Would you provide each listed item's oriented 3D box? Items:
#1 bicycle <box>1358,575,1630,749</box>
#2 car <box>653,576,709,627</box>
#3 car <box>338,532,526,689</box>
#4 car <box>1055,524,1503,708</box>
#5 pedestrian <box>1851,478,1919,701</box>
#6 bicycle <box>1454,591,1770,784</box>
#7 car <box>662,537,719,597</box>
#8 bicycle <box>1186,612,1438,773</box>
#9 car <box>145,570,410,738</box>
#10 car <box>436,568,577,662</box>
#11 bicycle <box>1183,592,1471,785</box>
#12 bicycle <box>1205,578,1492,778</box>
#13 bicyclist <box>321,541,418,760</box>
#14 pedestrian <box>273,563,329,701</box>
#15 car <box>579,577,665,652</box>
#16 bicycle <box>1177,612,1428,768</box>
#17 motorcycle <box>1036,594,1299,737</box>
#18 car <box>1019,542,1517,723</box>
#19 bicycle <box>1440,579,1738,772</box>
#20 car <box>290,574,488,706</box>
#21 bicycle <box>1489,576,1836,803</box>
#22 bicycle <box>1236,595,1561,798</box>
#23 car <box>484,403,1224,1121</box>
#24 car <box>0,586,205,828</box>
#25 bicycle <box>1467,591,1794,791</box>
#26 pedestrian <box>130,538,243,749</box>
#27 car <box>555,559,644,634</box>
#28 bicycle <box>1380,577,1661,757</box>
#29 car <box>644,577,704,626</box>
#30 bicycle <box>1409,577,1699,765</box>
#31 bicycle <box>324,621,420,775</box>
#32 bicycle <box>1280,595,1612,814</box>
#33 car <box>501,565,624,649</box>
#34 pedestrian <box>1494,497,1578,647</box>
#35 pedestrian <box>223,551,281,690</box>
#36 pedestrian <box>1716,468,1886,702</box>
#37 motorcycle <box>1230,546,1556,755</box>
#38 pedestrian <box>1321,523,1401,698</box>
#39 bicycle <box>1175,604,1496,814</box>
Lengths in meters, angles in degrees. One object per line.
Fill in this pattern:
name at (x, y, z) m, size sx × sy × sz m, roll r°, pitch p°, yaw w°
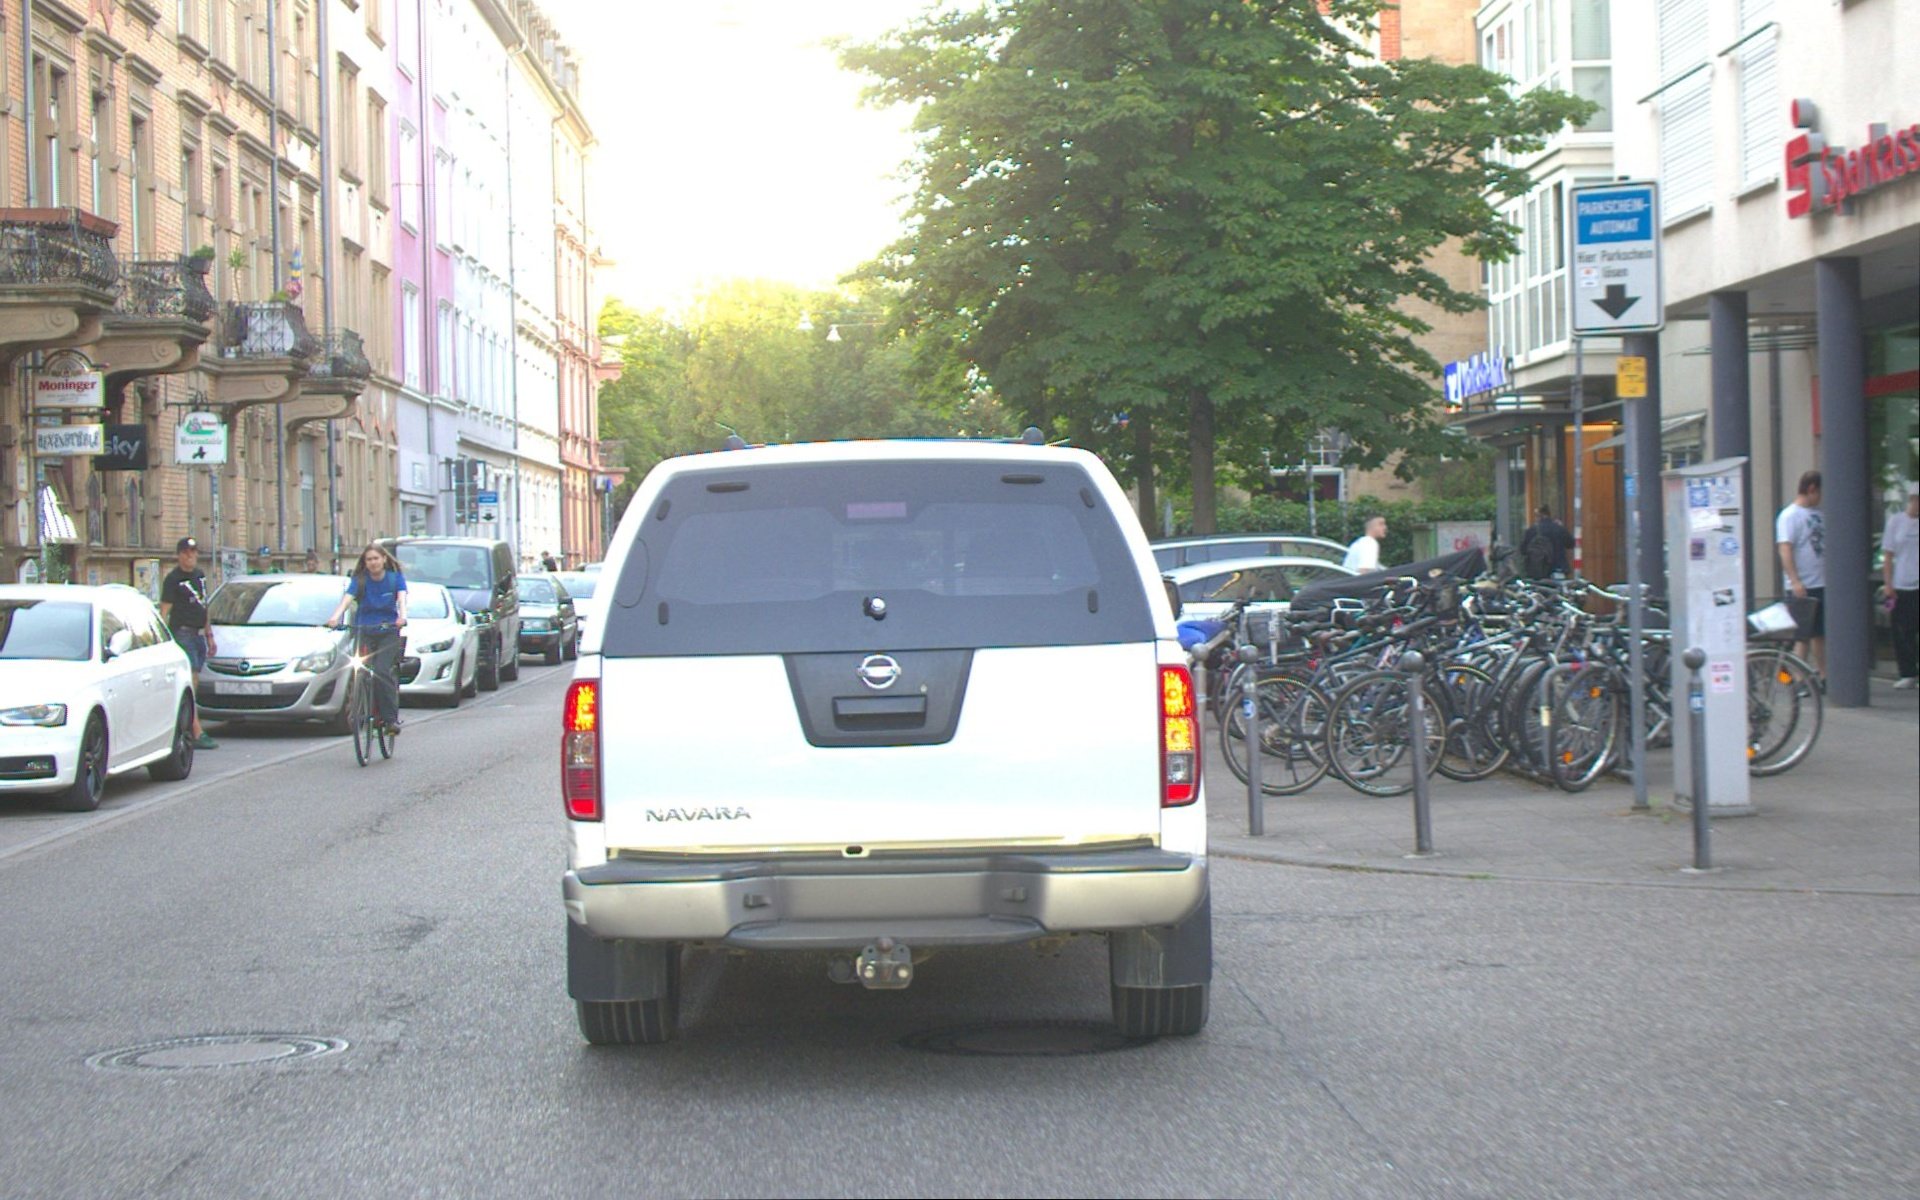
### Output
bicycle at (3.728, 0.427, 24.080) m, size 1.722 × 1.114 × 0.654 m, roll -3°, pitch 0°, yaw -4°
car at (-8.727, 0.040, 107.701) m, size 1.698 × 1.547 × 4.022 m, roll 1°, pitch 0°, yaw -4°
car at (-6.883, 0.107, 45.265) m, size 1.993 × 1.917 × 4.952 m, roll 1°, pitch 0°, yaw -4°
car at (3.272, 0.151, 35.845) m, size 4.398 × 1.642 × 1.746 m, roll -3°, pitch 1°, yaw -1°
pedestrian at (7.429, -0.092, 27.017) m, size 0.663 × 1.717 × 0.662 m, roll -1°, pitch 2°, yaw 26°
bicycle at (3.881, 0.515, 20.551) m, size 1.722 × 1.050 × 0.653 m, roll -3°, pitch 0°, yaw 2°
car at (-9.082, -1.117, 115.833) m, size 1.810 × 1.970 × 4.187 m, roll 1°, pitch 0°, yaw -6°
bicycle at (2.577, 0.673, 25.288) m, size 1.719 × 1.028 × 0.667 m, roll -5°, pitch 0°, yaw 2°
car at (-6.400, 0.465, 32.629) m, size 1.717 × 1.452 × 4.000 m, roll 1°, pitch 1°, yaw 0°
car at (-7.151, 0.235, 54.562) m, size 1.736 × 1.413 × 4.779 m, roll 1°, pitch 0°, yaw -2°
bicycle at (2.534, 0.607, 23.913) m, size 1.869 × 1.178 × 0.743 m, roll -5°, pitch 0°, yaw 4°
bicycle at (2.615, 0.517, 23.072) m, size 1.789 × 1.178 × 0.733 m, roll -5°, pitch 0°, yaw 10°
bicyclist at (-4.516, 0.374, 26.300) m, size 0.644 × 1.615 × 0.918 m, roll -3°, pitch 1°, yaw -10°
pedestrian at (-8.630, 0.410, 45.039) m, size 0.605 × 1.766 × 0.777 m, roll 2°, pitch 1°, yaw -5°
car at (-7.816, 0.324, 79.725) m, size 1.844 × 1.653 × 4.253 m, roll -1°, pitch 0°, yaw -4°
bicycle at (2.570, 0.670, 25.908) m, size 1.772 × 1.019 × 0.565 m, roll -5°, pitch 0°, yaw 2°
motorcycle at (1.744, 0.543, 28.954) m, size 2.057 × 1.074 × 0.664 m, roll -3°, pitch 0°, yaw -16°
car at (2.920, 0.293, 33.075) m, size 4.422 × 1.450 × 1.780 m, roll -3°, pitch 1°, yaw -7°
bicycle at (3.955, 0.468, 21.710) m, size 1.722 × 1.114 × 0.653 m, roll -3°, pitch 0°, yaw 2°
car at (-6.631, 0.425, 40.305) m, size 1.783 × 1.418 × 4.486 m, roll 1°, pitch 0°, yaw -3°
bicycle at (3.847, 0.482, 18.853) m, size 1.722 × 1.128 × 0.579 m, roll -3°, pitch 0°, yaw -13°
bicycle at (2.652, 0.577, 20.909) m, size 1.809 × 1.114 × 0.707 m, roll -3°, pitch 0°, yaw -3°
car at (-0.210, 0.412, 11.511) m, size 1.911 × 1.847 × 5.270 m, roll 0°, pitch 0°, yaw 1°
car at (-6.375, 0.635, 22.997) m, size 1.758 × 1.407 × 4.509 m, roll 0°, pitch 1°, yaw -1°
bicycle at (3.860, 0.517, 19.879) m, size 1.722 × 1.050 × 0.653 m, roll -3°, pitch 0°, yaw 2°
pedestrian at (-6.514, 0.366, 28.976) m, size 0.554 × 1.749 × 1.022 m, roll -1°, pitch -1°, yaw 11°
car at (-7.675, -0.097, 73.432) m, size 1.636 × 1.560 × 3.782 m, roll 0°, pitch 0°, yaw -2°
bicycle at (3.799, 0.448, 23.360) m, size 1.722 × 1.114 × 0.654 m, roll -3°, pitch 0°, yaw -4°
car at (-8.443, 0.030, 101.778) m, size 1.698 × 1.421 × 4.022 m, roll 1°, pitch 0°, yaw -4°
bicycle at (3.835, 0.452, 22.278) m, size 1.722 × 1.114 × 0.653 m, roll -3°, pitch 0°, yaw 2°
bicycle at (-4.500, 0.723, 26.293) m, size 0.644 × 1.077 × 2.169 m, roll -3°, pitch 1°, yaw -10°
bicycle at (2.703, 0.575, 19.260) m, size 1.722 × 1.114 × 0.707 m, roll -3°, pitch 0°, yaw 2°
car at (-7.330, 0.113, 63.700) m, size 1.834 × 1.453 × 4.207 m, roll 2°, pitch 0°, yaw -1°
pedestrian at (6.816, -0.330, 40.724) m, size 0.727 × 1.710 × 0.963 m, roll -3°, pitch 0°, yaw -1°
pedestrian at (-9.227, 0.262, 44.804) m, size 0.580 × 1.765 × 0.998 m, roll 2°, pitch 1°, yaw -5°
pedestrian at (6.415, -0.114, 26.232) m, size 0.774 × 1.717 × 0.913 m, roll -5°, pitch 3°, yaw -44°
motorcycle at (3.514, 0.409, 28.077) m, size 2.492 × 1.544 × 0.824 m, roll -3°, pitch 0°, yaw 2°
pedestrian at (4.031, 0.108, 34.581) m, size 0.625 × 1.747 × 0.588 m, roll 0°, pitch -1°, yaw -13°
bicycle at (2.181, 0.628, 20.112) m, size 1.722 × 1.114 × 0.707 m, roll -3°, pitch 0°, yaw -3°
